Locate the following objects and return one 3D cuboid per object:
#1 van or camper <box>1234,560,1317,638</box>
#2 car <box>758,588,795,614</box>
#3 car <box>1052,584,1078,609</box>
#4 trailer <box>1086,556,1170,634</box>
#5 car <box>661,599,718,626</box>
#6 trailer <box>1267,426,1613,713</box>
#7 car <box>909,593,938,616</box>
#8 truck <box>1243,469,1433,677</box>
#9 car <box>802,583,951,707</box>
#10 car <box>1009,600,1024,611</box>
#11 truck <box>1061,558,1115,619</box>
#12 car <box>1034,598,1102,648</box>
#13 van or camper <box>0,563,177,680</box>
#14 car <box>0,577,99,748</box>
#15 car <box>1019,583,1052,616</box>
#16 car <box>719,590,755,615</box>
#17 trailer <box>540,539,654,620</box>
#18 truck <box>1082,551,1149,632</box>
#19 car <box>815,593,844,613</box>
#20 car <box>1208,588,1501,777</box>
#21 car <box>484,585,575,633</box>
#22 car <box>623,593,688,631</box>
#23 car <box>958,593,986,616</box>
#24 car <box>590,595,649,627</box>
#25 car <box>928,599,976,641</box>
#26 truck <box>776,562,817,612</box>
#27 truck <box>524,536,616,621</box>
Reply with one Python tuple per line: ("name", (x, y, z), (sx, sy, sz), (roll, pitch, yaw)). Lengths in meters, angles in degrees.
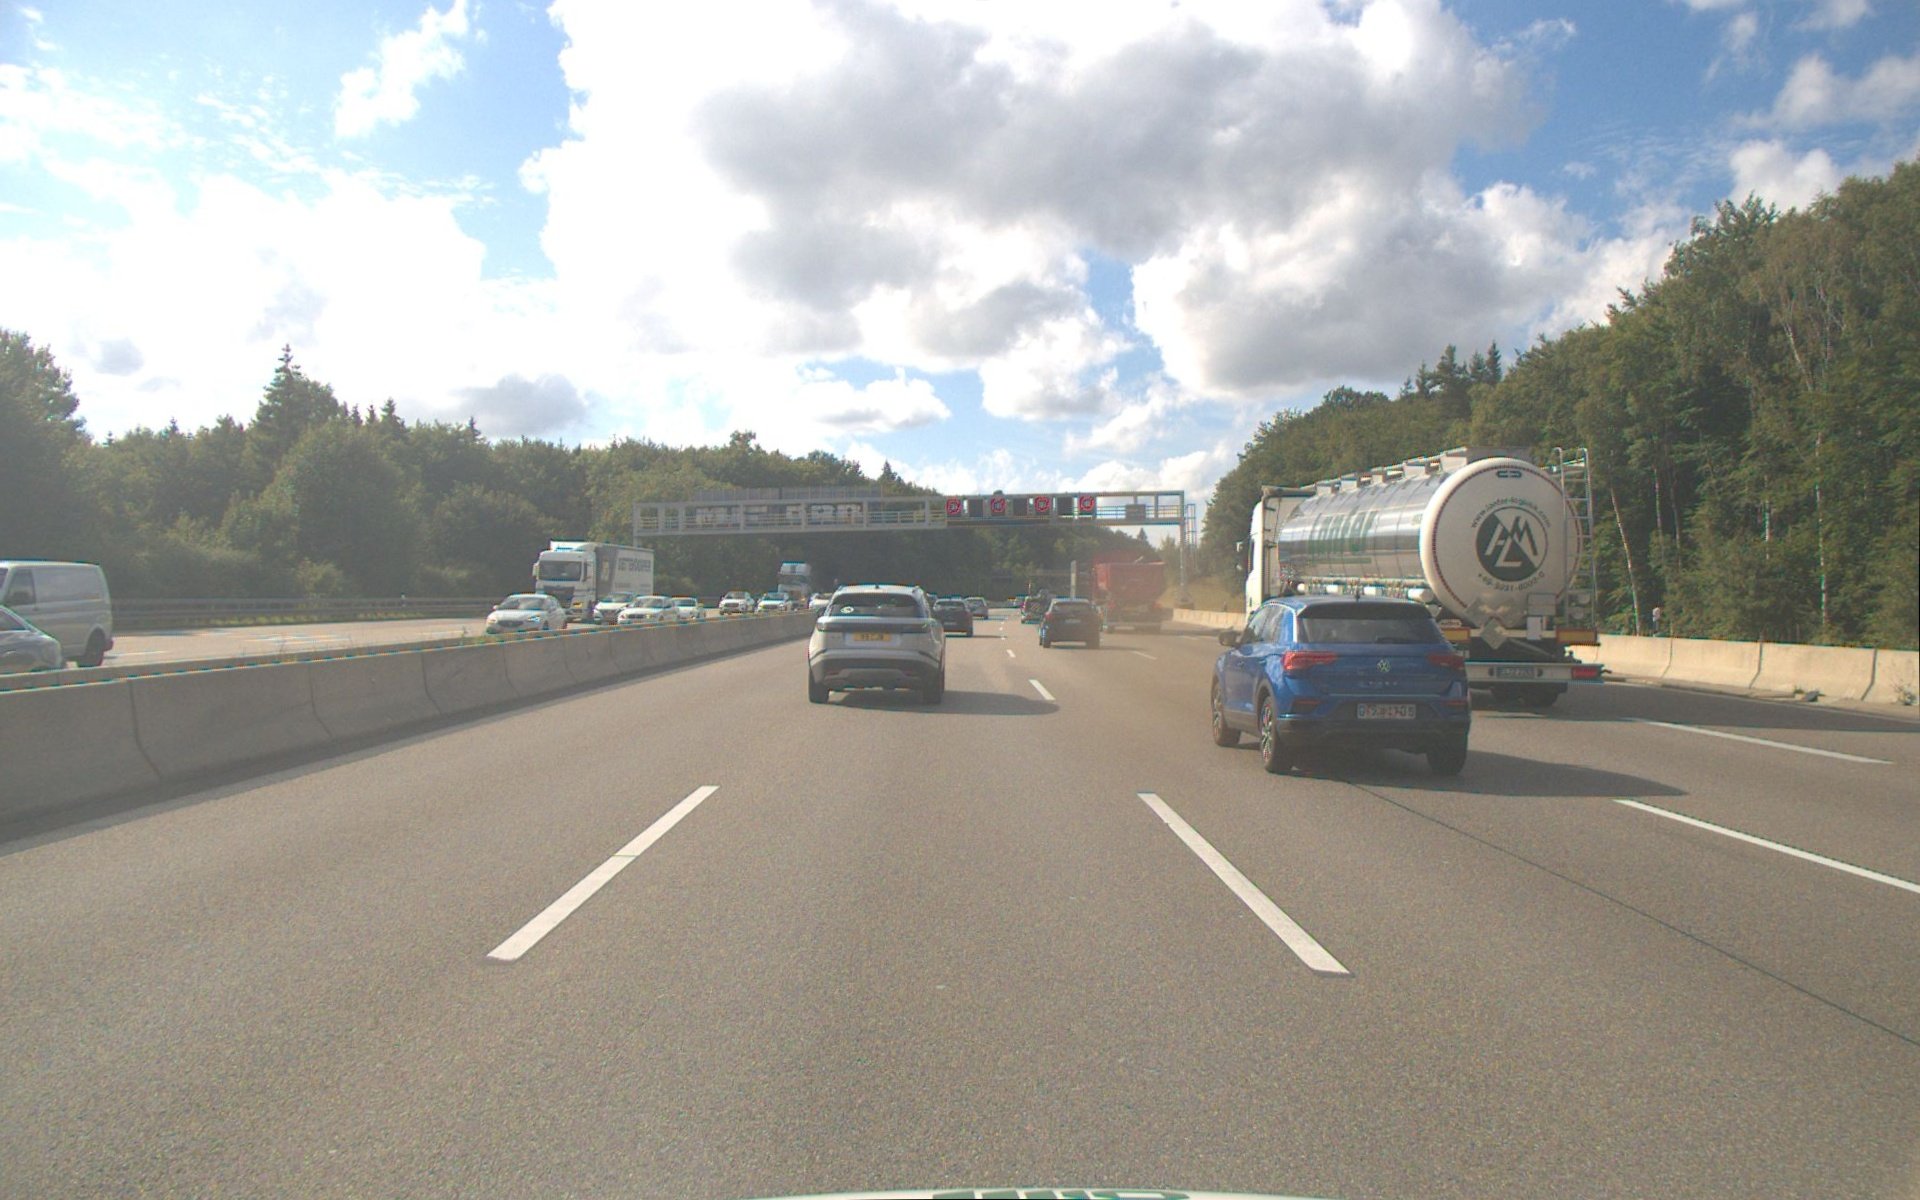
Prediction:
("van or camper", (9.972, -0.029, 52.660), (1.785, 2.348, 4.939), (0, 0, 1))
("car", (-11.994, 0.071, 108.480), (1.673, 1.622, 4.945), (0, 0, 2))
("car", (8.194, -0.307, 129.164), (1.854, 1.889, 4.101), (1, 0, 2))
("trailer", (7.555, -0.265, 75.656), (2.655, 3.288, 9.731), (1, 0, -1))
("car", (-12.255, 0.542, 75.144), (1.774, 1.181, 4.515), (0, 0, 1))
("trailer", (7.540, -0.434, 28.144), (2.594, 3.833, 11.861), (0, 0, 1))
("car", (-2.475, 0.293, 113.168), (1.902, 1.483, 4.000), (-1, 0, 0))
("truck", (7.624, -0.515, 34.140), (2.594, 3.890, 6.082), (0, 0, 1))
("car", (-1.144, 0.600, 24.984), (1.965, 1.644, 5.300), (1, 0, 0))
("car", (8.257, 0.822, 240.915), (2.033, 1.483, 4.002), (-1, 0, 3))
("truck", (8.886, -0.785, 115.982), (3.054, 4.003, 10.412), (0, 0, 1))
("car", (3.357, 0.703, 51.969), (1.785, 1.483, 3.999), (0, 0, -1))
("van or camper", (-16.878, 0.341, 30.689), (1.952, 1.971, 5.459), (0, 0, 2))
("car", (-9.714, 0.569, 14.623), (1.825, 1.579, 4.660), (0, 0, -1))
("car", (4.425, -0.023, 97.485), (1.854, 1.889, 4.101), (1, 0, 1))
("car", (-15.568, 0.167, 115.630), (1.756, 1.646, 5.045), (0, 0, 1))
("trailer", (-19.955, -1.073, 91.967), (3.250, 4.178, 14.153), (0, 0, 0))
("truck", (7.522, -0.426, 80.671), (2.654, 3.783, 5.817), (1, 0, 0))
("car", (-10.402, 0.231, 132.415), (1.819, 1.552, 4.995), (0, 0, 1))
("car", (3.607, 0.676, 15.944), (1.737, 1.557, 4.457), (0, 0, 0))
("car", (-13.410, 0.262, 51.764), (1.733, 1.419, 4.689), (0, 0, -2))
("car", (-12.145, 0.457, 66.249), (1.647, 1.421, 4.715), (0, 0, 1))
("car", (0.841, 0.326, 112.559), (1.784, 1.483, 4.001), (1, 0, 3))
("car", (-16.238, 0.497, 79.034), (1.774, 1.478, 4.801), (0, 0, 1))
("car", (-0.297, 0.756, 65.216), (1.785, 1.573, 4.001), (0, 0, 1))
("truck", (-14.018, -1.133, 141.850), (2.682, 4.178, 5.766), (0, 0, 3))
("truck", (-19.905, -1.049, 84.873), (3.250, 4.178, 6.224), (0, 0, 0))
